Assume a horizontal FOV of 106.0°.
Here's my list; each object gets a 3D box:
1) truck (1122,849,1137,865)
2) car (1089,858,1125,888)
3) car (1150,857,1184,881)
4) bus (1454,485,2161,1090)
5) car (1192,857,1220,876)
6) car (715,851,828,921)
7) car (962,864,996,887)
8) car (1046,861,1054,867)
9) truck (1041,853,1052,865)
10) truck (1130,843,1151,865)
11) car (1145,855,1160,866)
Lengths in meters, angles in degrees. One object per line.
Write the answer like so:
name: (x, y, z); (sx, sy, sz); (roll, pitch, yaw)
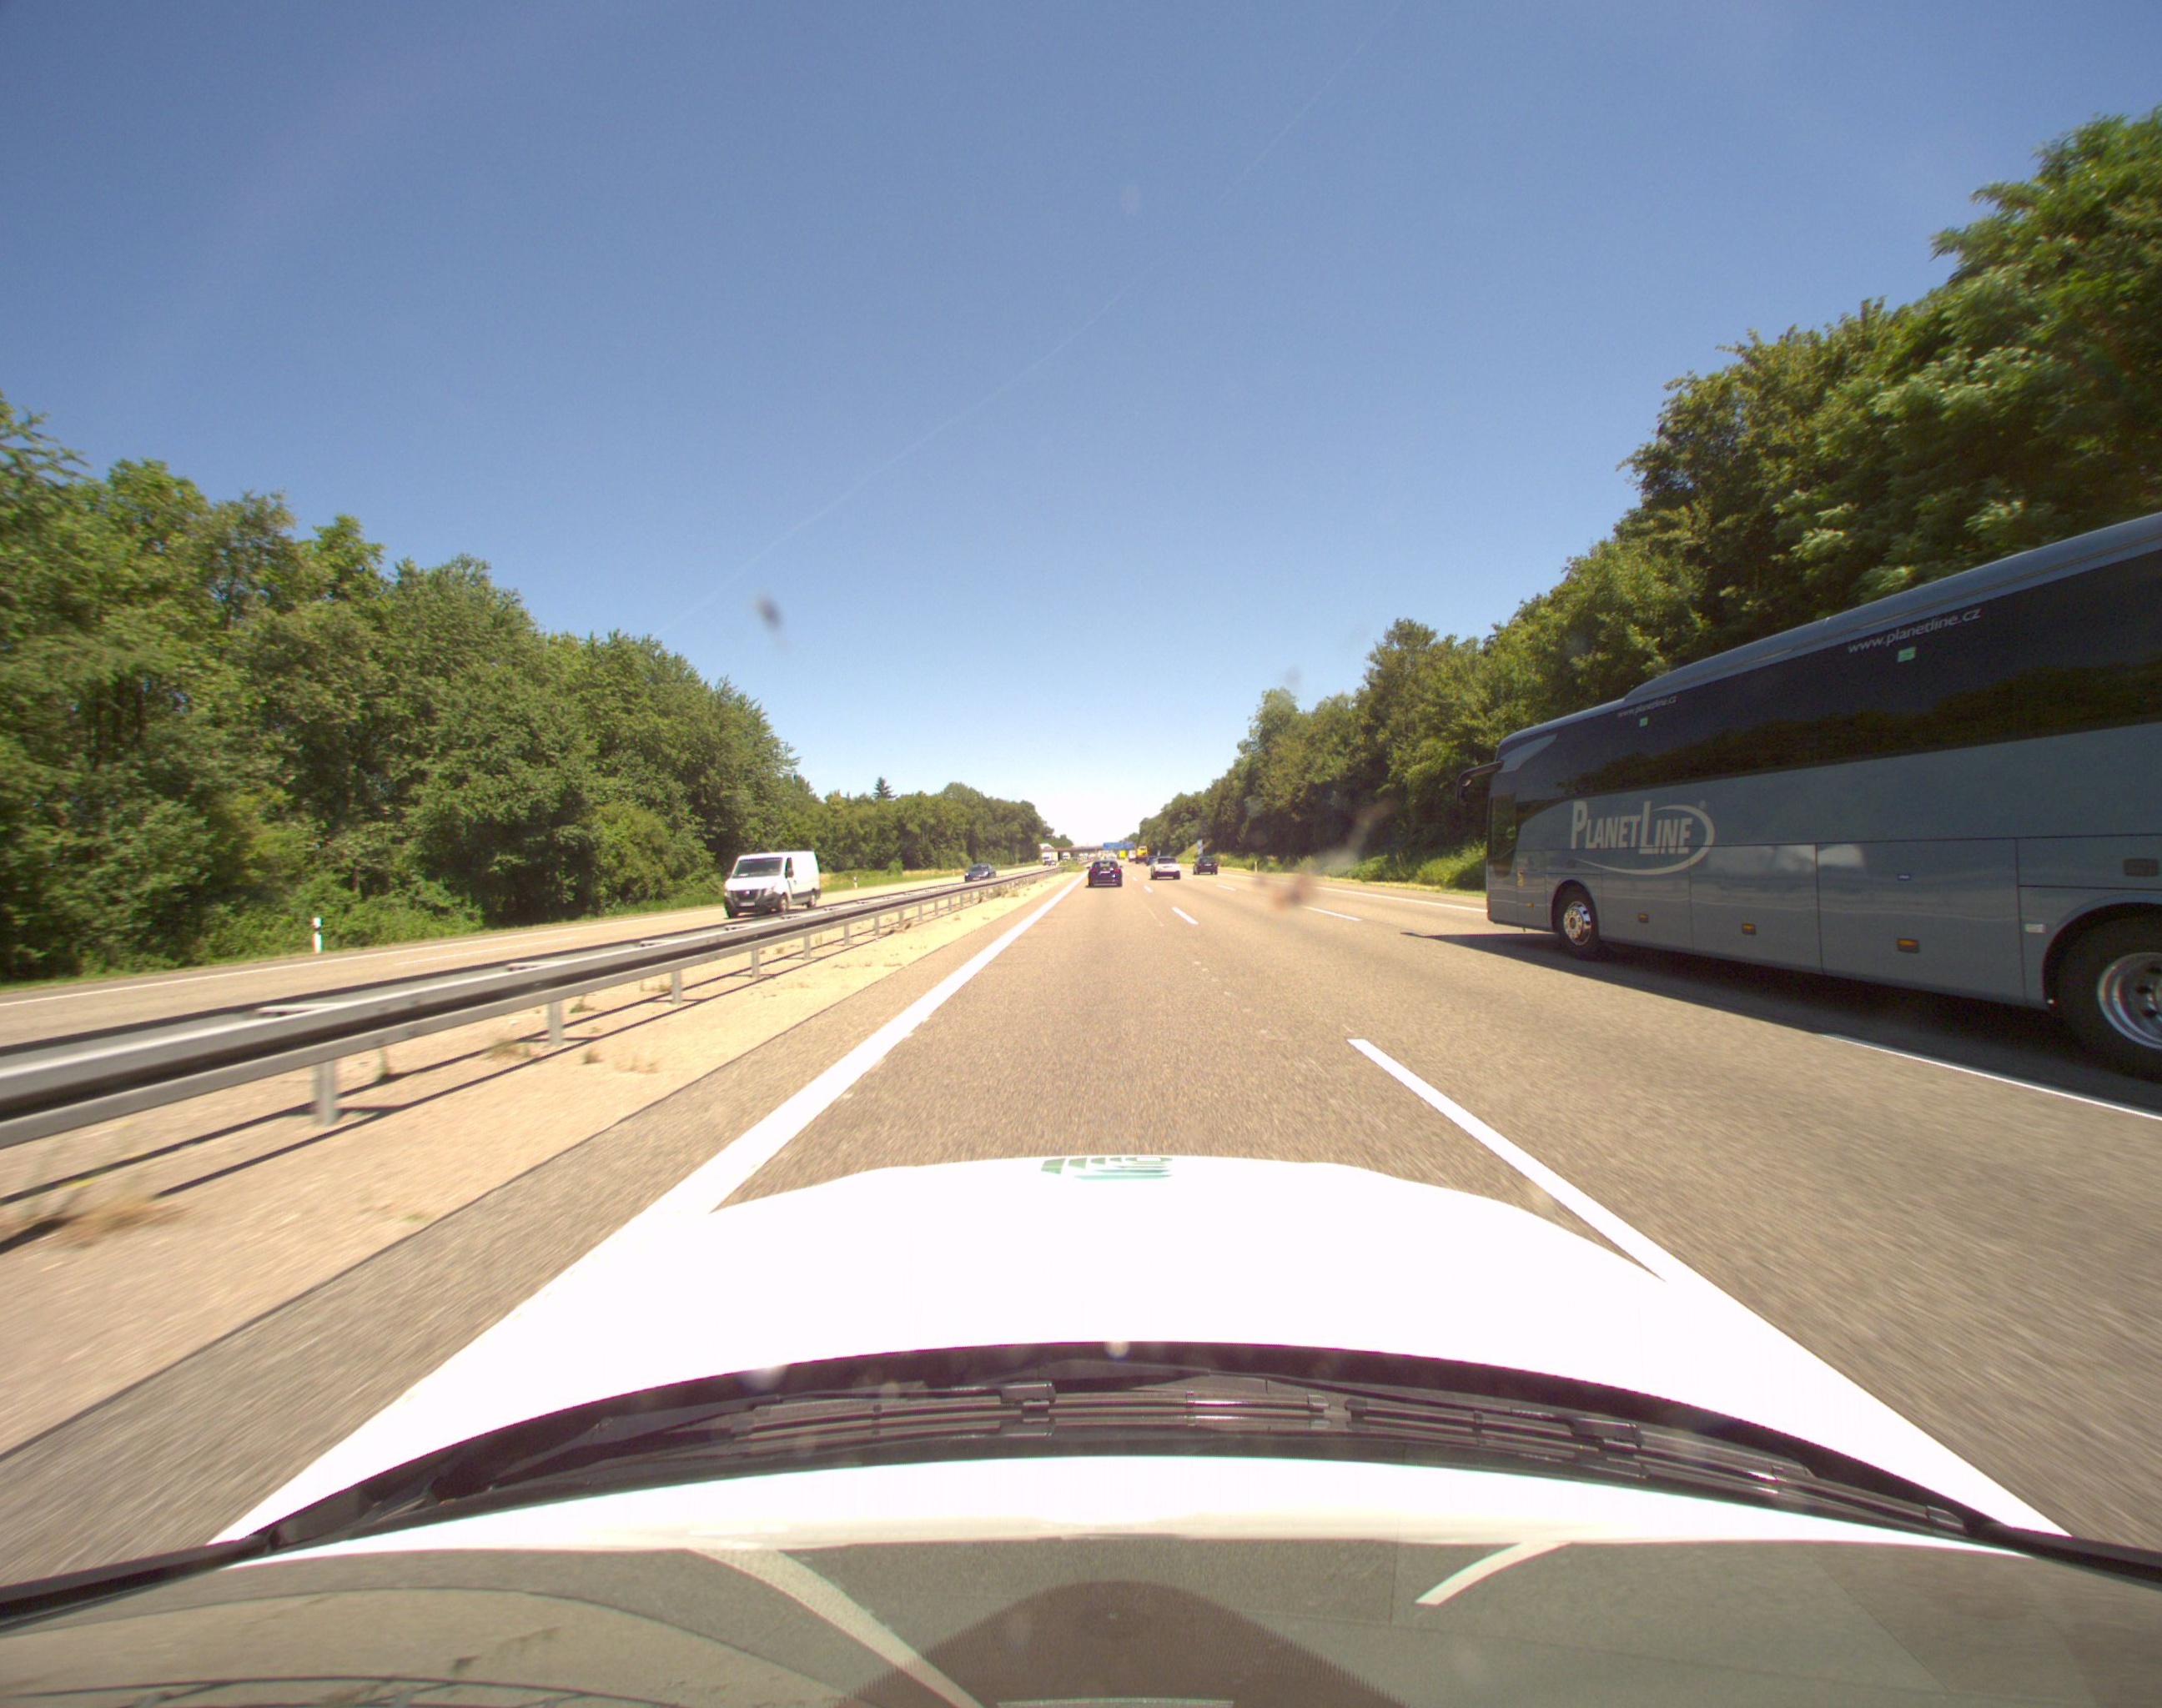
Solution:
truck: (14.094, 0.946, 237.761); (3.635, 4.590, 17.247); (0, -1, 1)
car: (1.320, 0.963, 43.186); (1.793, 1.502, 4.241); (-1, 0, 1)
car: (5.759, 0.973, 55.048); (1.893, 1.532, 4.241); (-1, 0, 1)
bus: (7.881, -0.394, 8.020); (2.792, 3.596, 12.475); (-1, 0, 1)
car: (10.237, 0.998, 66.898); (1.782, 1.461, 3.951); (-1, 0, 2)
car: (-11.438, 1.103, 30.581); (2.080, 2.288, 5.277); (-3, 0, 1)
car: (-7.544, 1.569, 60.610); (1.799, 1.480, 4.568); (-2, 0, 1)
car: (-7.827, 2.493, 208.442); (1.793, 1.532, 4.678); (-1, 0, 1)
truck: (-10.369, 1.529, 246.288); (2.786, 3.632, 10.697); (-3, 0, 1)
truck: (13.081, 0.152, 179.894); (3.635, 4.590, 15.766); (0, -1, 1)
car: (11.648, 1.045, 133.128); (2.069, 1.751, 4.241); (-3, 0, 1)
